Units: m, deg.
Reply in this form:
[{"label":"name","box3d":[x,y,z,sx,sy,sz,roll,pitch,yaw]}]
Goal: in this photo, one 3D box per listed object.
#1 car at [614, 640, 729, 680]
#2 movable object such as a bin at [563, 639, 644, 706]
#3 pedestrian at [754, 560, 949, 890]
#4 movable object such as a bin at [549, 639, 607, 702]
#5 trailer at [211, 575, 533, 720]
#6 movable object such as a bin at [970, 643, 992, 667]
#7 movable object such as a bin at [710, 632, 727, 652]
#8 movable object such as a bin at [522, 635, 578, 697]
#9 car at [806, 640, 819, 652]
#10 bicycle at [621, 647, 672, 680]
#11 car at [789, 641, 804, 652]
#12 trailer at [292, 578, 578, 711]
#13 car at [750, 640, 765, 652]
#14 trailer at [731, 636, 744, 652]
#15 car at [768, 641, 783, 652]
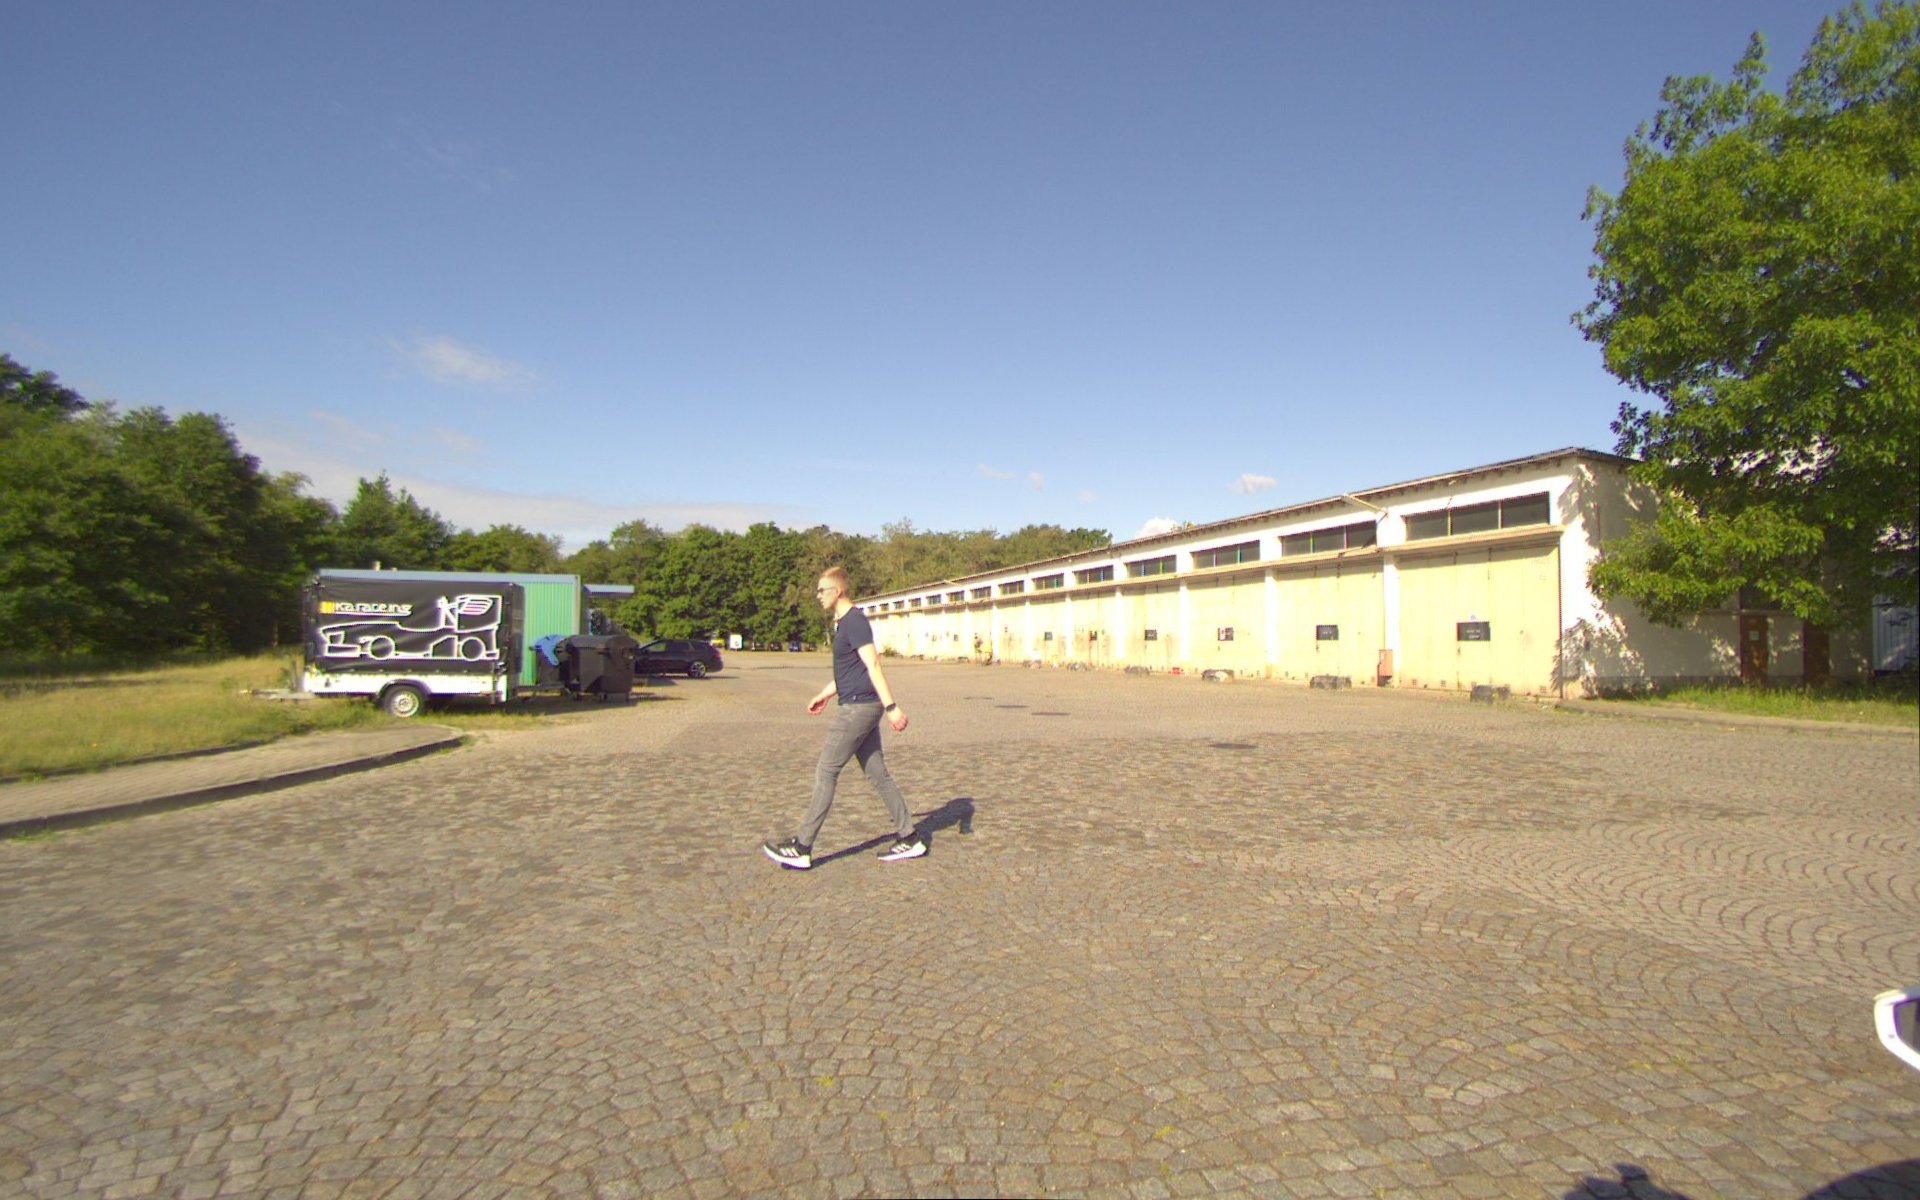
[{"label":"car","box3d":[-10.903,2.279,37.952,4.005,1.431,1.723,2,-3,-23]},{"label":"movable object such as a bin","box3d":[-7.751,1.555,21.854,1.340,1.404,1.046,-1,-3,30]},{"label":"pedestrian","box3d":[-0.716,0.756,6.461,1.124,1.939,0.797,1,-2,-16]},{"label":"movable object such as a bin","box3d":[-8.801,1.613,23.206,1.065,1.404,1.365,1,-2,-14]},{"label":"trailer","box3d":[-10.005,0.864,17.550,4.397,2.302,2.007,2,-3,-17]},{"label":"movable object such as a bin","box3d":[1.193,3.098,56.751,0.814,1.349,1.274,1,-2,-22]},{"label":"movable object such as a bin","box3d":[-32.503,5.683,135.354,1.966,2.652,3.991,3,-3,-12]},{"label":"movable object such as a bin","box3d":[-9.925,1.574,24.286,1.075,1.455,1.398,1,-3,-29]},{"label":"car","box3d":[-20.369,6.387,138.633,1.660,1.584,3.994,0,-2,-10]},{"label":"bicycle","box3d":[-11.243,2.293,36.102,1.686,1.116,0.671,3,-3,-17]},{"label":"car","box3d":[-22.325,6.371,136.739,1.964,1.438,3.994,0,-3,-10]},{"label":"trailer","box3d":[-10.245,0.927,20.073,4.786,2.422,1.933,2,-3,-23]},{"label":"car","box3d":[-27.134,6.212,134.942,1.834,1.606,3.994,0,-2,-10]},{"label":"trailer","box3d":[-30.075,5.962,135.811,1.768,2.117,3.963,1,-2,-13]},{"label":"car","box3d":[-24.894,6.331,135.831,1.964,1.482,3.994,0,-2,-10]}]
